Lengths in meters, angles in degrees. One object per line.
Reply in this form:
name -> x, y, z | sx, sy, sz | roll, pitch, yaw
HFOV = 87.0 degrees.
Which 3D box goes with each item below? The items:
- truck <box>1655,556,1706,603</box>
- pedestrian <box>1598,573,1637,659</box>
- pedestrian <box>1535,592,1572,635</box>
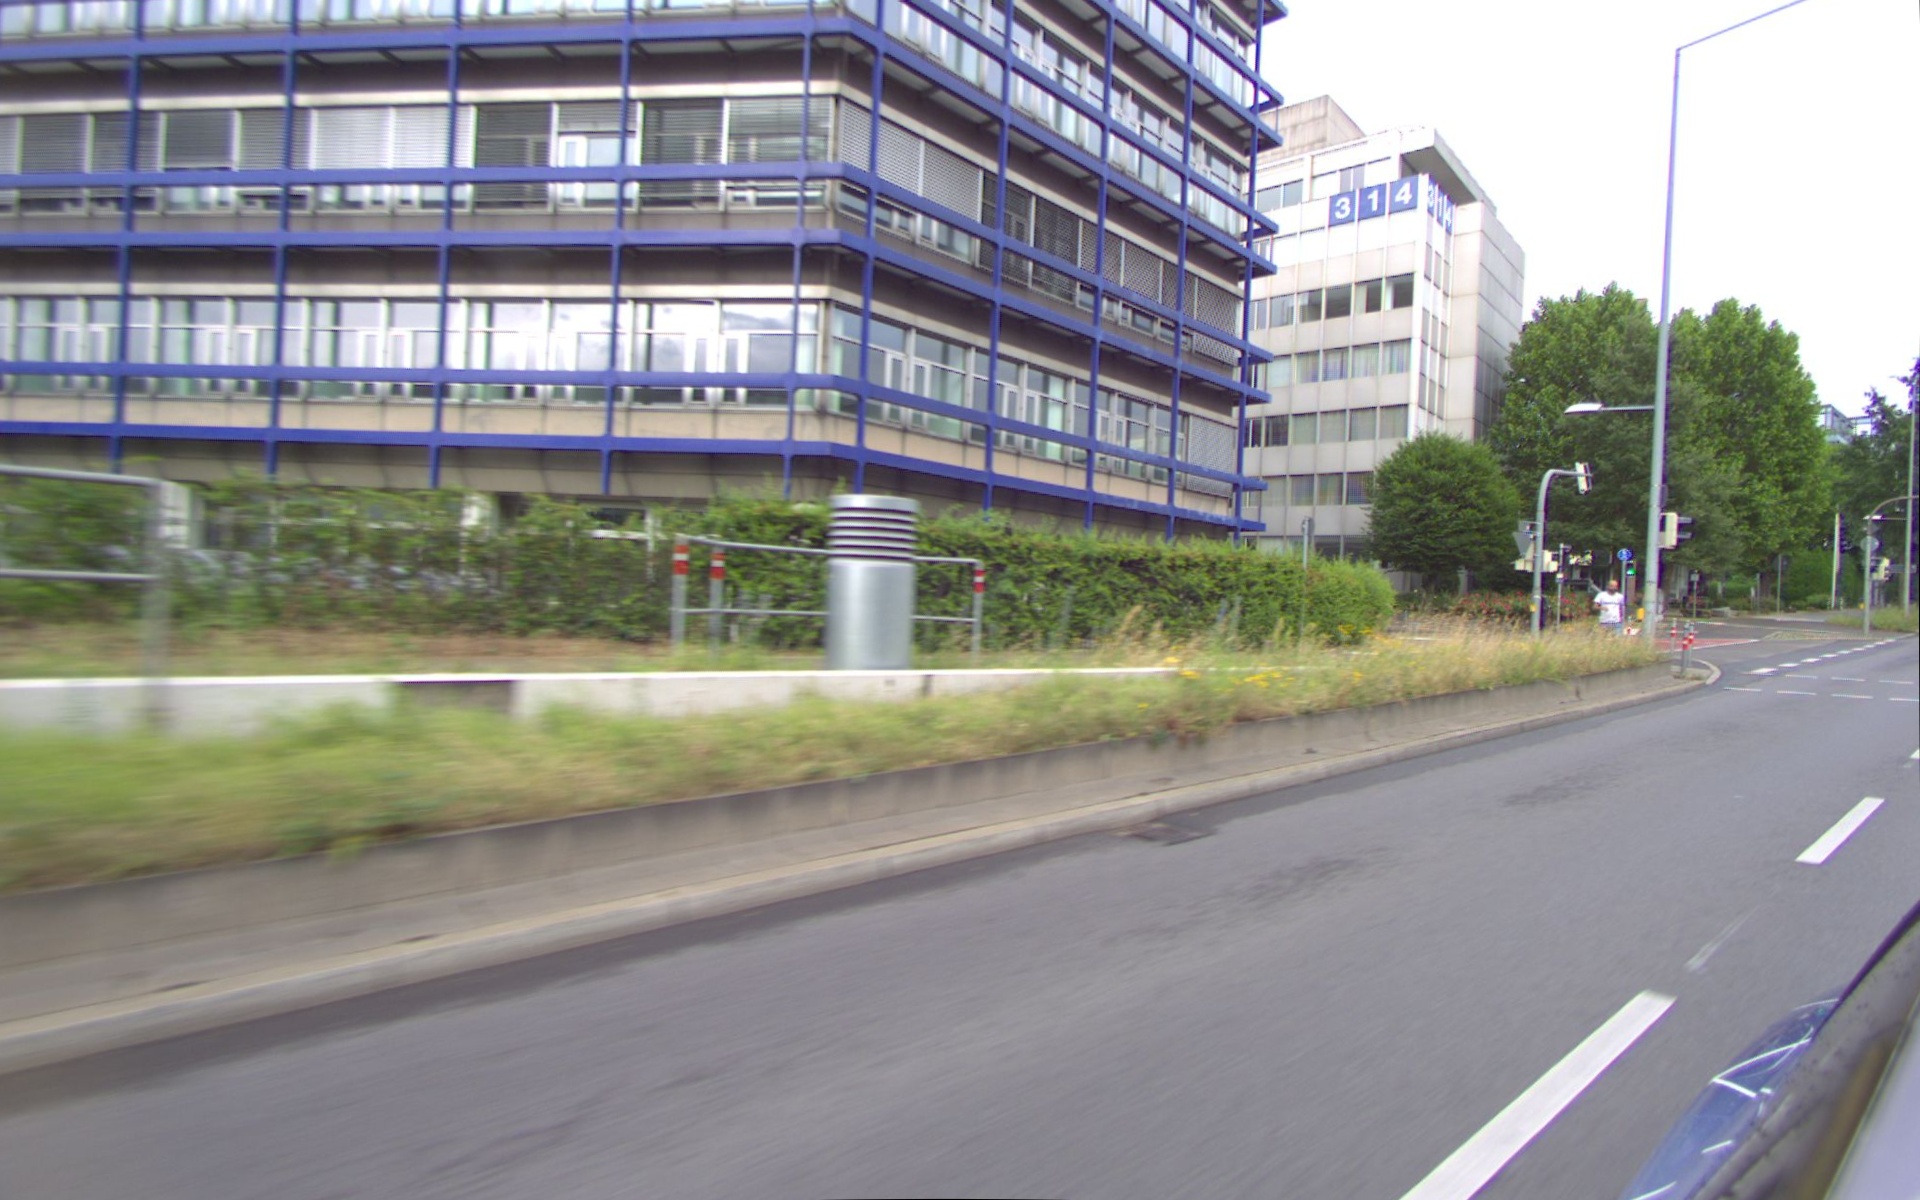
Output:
truck -> 40.939, -1.153, 57.472 | 1.747, 2.549, 3.936 | 0, 0, 45
pedestrian -> 13.087, 0.306, 20.142 | 0.553, 1.673, 0.820 | 1, 1, 39
pedestrian -> 22.070, 0.506, 37.670 | 0.784, 1.560, 0.905 | 1, 1, -2
